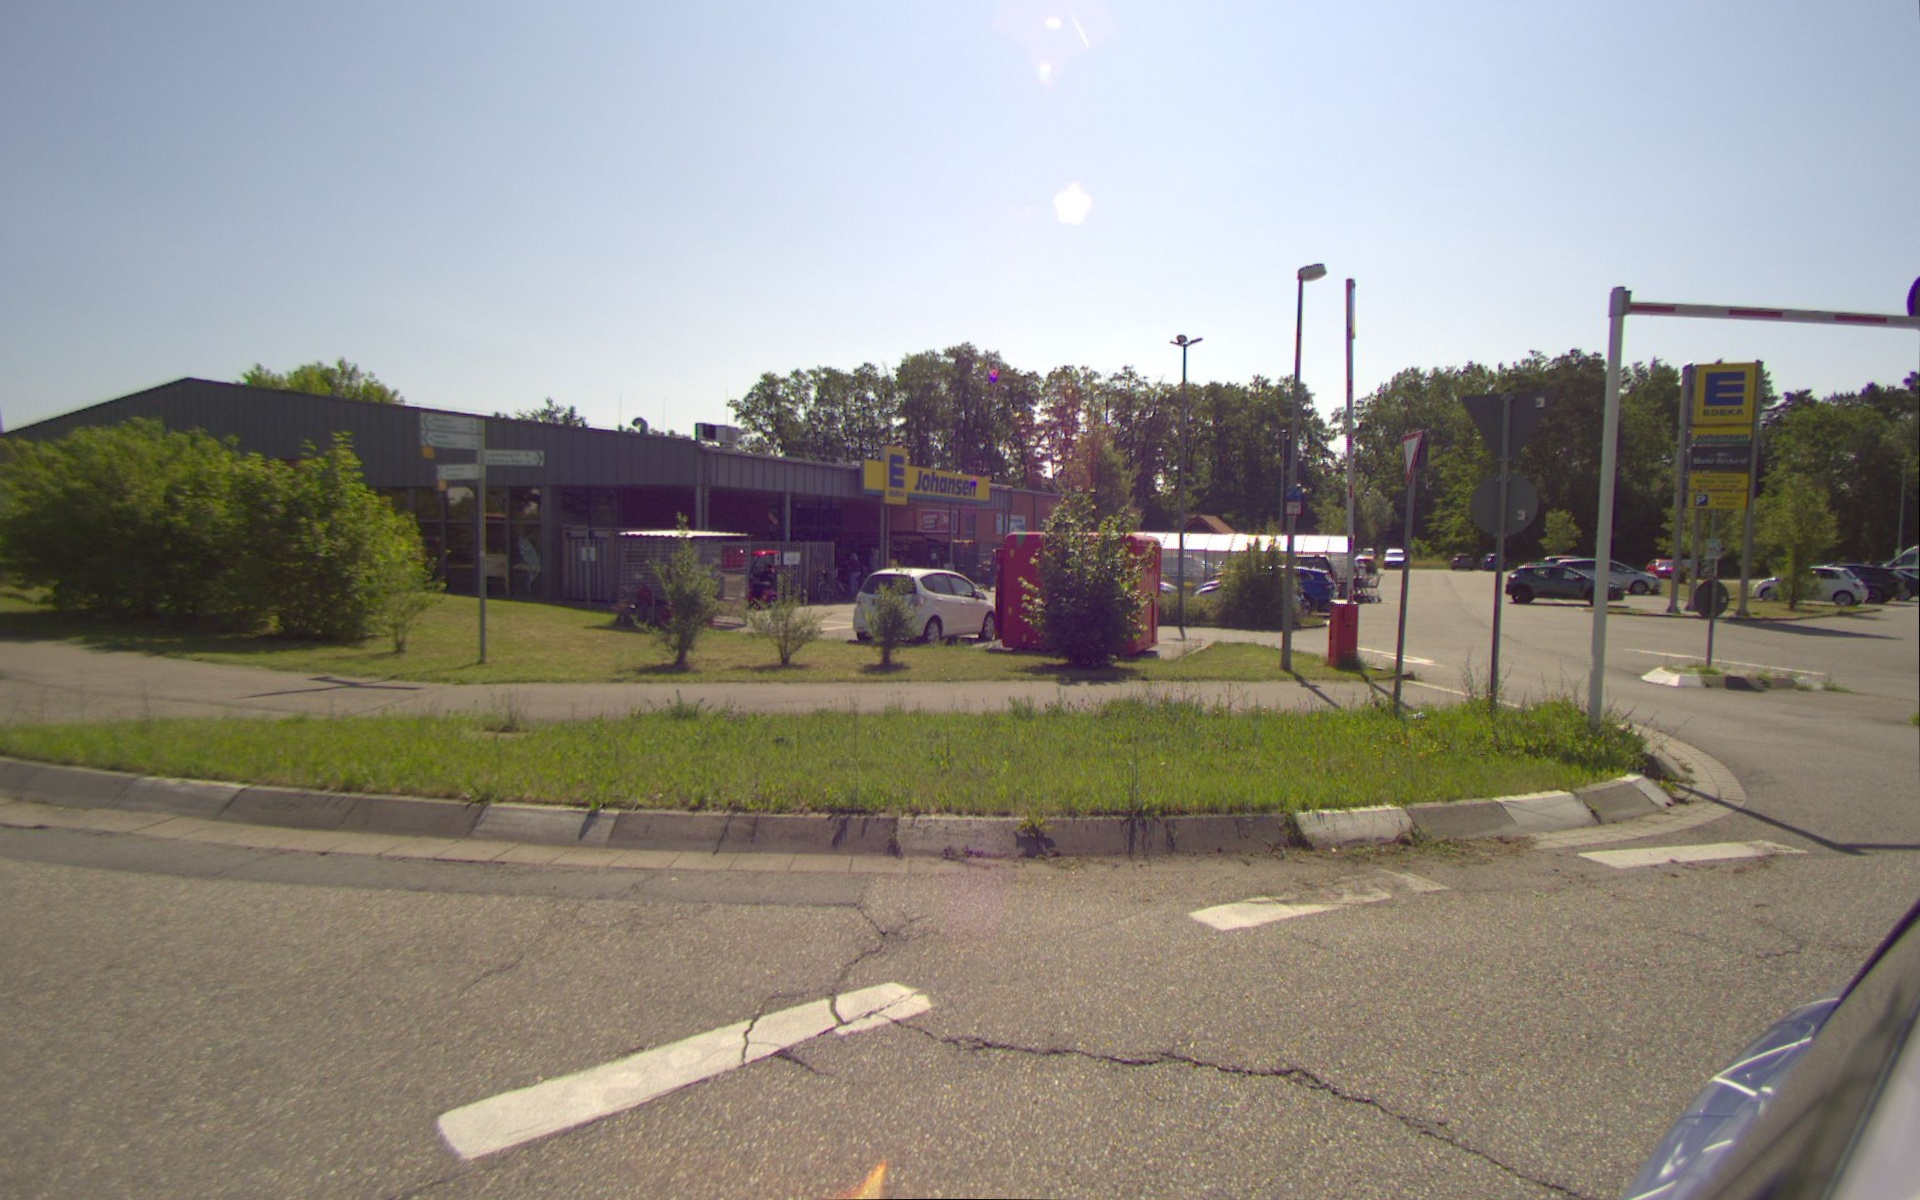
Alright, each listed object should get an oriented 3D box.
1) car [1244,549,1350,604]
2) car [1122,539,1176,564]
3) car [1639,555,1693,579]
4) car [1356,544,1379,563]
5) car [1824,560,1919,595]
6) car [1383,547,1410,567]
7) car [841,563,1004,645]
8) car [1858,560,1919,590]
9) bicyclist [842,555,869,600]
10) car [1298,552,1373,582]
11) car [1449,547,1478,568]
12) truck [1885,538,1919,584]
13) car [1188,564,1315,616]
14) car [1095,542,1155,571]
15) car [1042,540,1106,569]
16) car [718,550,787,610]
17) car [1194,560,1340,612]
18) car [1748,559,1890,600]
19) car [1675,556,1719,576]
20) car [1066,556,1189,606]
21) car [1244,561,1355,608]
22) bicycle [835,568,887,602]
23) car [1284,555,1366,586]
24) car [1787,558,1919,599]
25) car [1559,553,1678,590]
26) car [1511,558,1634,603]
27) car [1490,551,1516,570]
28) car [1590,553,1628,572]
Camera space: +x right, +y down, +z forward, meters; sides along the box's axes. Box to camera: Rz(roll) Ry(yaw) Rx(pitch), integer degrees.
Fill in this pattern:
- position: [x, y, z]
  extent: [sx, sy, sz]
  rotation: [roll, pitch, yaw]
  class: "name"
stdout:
- position: [12.900, -0.932, 38.753]
  extent: [3.467, 1.952, 1.857]
  rotation: [3, 3, 33]
  class: "car"
- position: [15.901, -4.076, 85.155]
  extent: [3.965, 2.038, 1.981]
  rotation: [2, 3, 29]
  class: "car"
- position: [49.022, -2.325, 70.383]
  extent: [1.977, 1.483, 4.465]
  rotation: [3, 4, 21]
  class: "car"
- position: [36.597, -4.154, 90.835]
  extent: [1.777, 1.615, 4.227]
  rotation: [3, 4, 24]
  class: "car"
- position: [42.292, -1.035, 46.359]
  extent: [1.721, 1.444, 3.991]
  rotation: [-2, 4, -44]
  class: "car"
- position: [38.786, -3.860, 89.929]
  extent: [2.051, 1.731, 3.967]
  rotation: [3, 4, 25]
  class: "car"
- position: [-0.671, 0.025, 20.731]
  extent: [1.710, 1.463, 3.736]
  rotation: [3, 2, 28]
  class: "car"
- position: [48.390, -1.267, 51.526]
  extent: [3.961, 1.470, 1.876]
  rotation: [4, 4, 42]
  class: "car"
- position: [-3.614, -0.793, 35.003]
  extent: [0.675, 1.533, 0.598]
  rotation: [3, 4, 42]
  class: "bicyclist"
- position: [22.677, -2.000, 61.132]
  extent: [3.969, 1.682, 1.979]
  rotation: [3, 3, 31]
  class: "car"
- position: [43.546, -3.667, 87.592]
  extent: [2.051, 1.731, 3.967]
  rotation: [3, 4, 25]
  class: "car"
- position: [56.832, -2.181, 57.745]
  extent: [2.164, 2.636, 5.615]
  rotation: [-1, 4, -39]
  class: "truck"
- position: [9.117, -0.359, 31.664]
  extent: [3.467, 1.475, 1.697]
  rotation: [3, 3, 33]
  class: "car"
- position: [12.168, -3.226, 74.519]
  extent: [3.961, 2.038, 1.983]
  rotation: [3, 4, 27]
  class: "car"
- position: [7.709, -3.056, 68.309]
  extent: [3.953, 1.837, 1.987]
  rotation: [2, 3, 22]
  class: "car"
- position: [-6.005, -0.598, 29.393]
  extent: [1.119, 1.655, 1.813]
  rotation: [2, 3, 26]
  class: "car"
- position: [10.260, -0.512, 33.920]
  extent: [4.390, 1.590, 1.699]
  rotation: [2, 3, 30]
  class: "car"
- position: [33.938, -0.852, 40.073]
  extent: [1.621, 1.459, 3.999]
  rotation: [-1, 4, -38]
  class: "car"
- position: [58.763, -2.757, 80.771]
  extent: [2.051, 1.504, 3.967]
  rotation: [3, 4, 25]
  class: "car"
- position: [5.977, -0.723, 36.123]
  extent: [3.962, 1.642, 1.895]
  rotation: [2, 3, 27]
  class: "car"
- position: [12.187, -0.595, 36.328]
  extent: [3.467, 1.516, 1.697]
  rotation: [3, 3, 33]
  class: "car"
- position: [-3.420, -0.533, 34.845]
  extent: [2.069, 1.054, 0.545]
  rotation: [4, 4, 43]
  class: "bicycle"
- position: [19.442, -1.610, 53.908]
  extent: [3.957, 1.504, 1.953]
  rotation: [2, 3, 24]
  class: "car"
- position: [38.178, -0.940, 43.204]
  extent: [1.965, 1.593, 4.162]
  rotation: [-1, 3, -40]
  class: "car"
- position: [31.380, -1.369, 48.425]
  extent: [4.513, 1.723, 1.983]
  rotation: [0, 2, 26]
  class: "car"
- position: [23.934, -0.791, 39.595]
  extent: [3.977, 1.607, 1.640]
  rotation: [3, 3, 36]
  class: "car"
- position: [46.362, -3.391, 86.435]
  extent: [1.646, 1.504, 4.337]
  rotation: [3, 4, 25]
  class: "car"
- position: [53.632, -3.110, 83.709]
  extent: [2.051, 1.504, 3.967]
  rotation: [3, 4, 25]
  class: "car"
